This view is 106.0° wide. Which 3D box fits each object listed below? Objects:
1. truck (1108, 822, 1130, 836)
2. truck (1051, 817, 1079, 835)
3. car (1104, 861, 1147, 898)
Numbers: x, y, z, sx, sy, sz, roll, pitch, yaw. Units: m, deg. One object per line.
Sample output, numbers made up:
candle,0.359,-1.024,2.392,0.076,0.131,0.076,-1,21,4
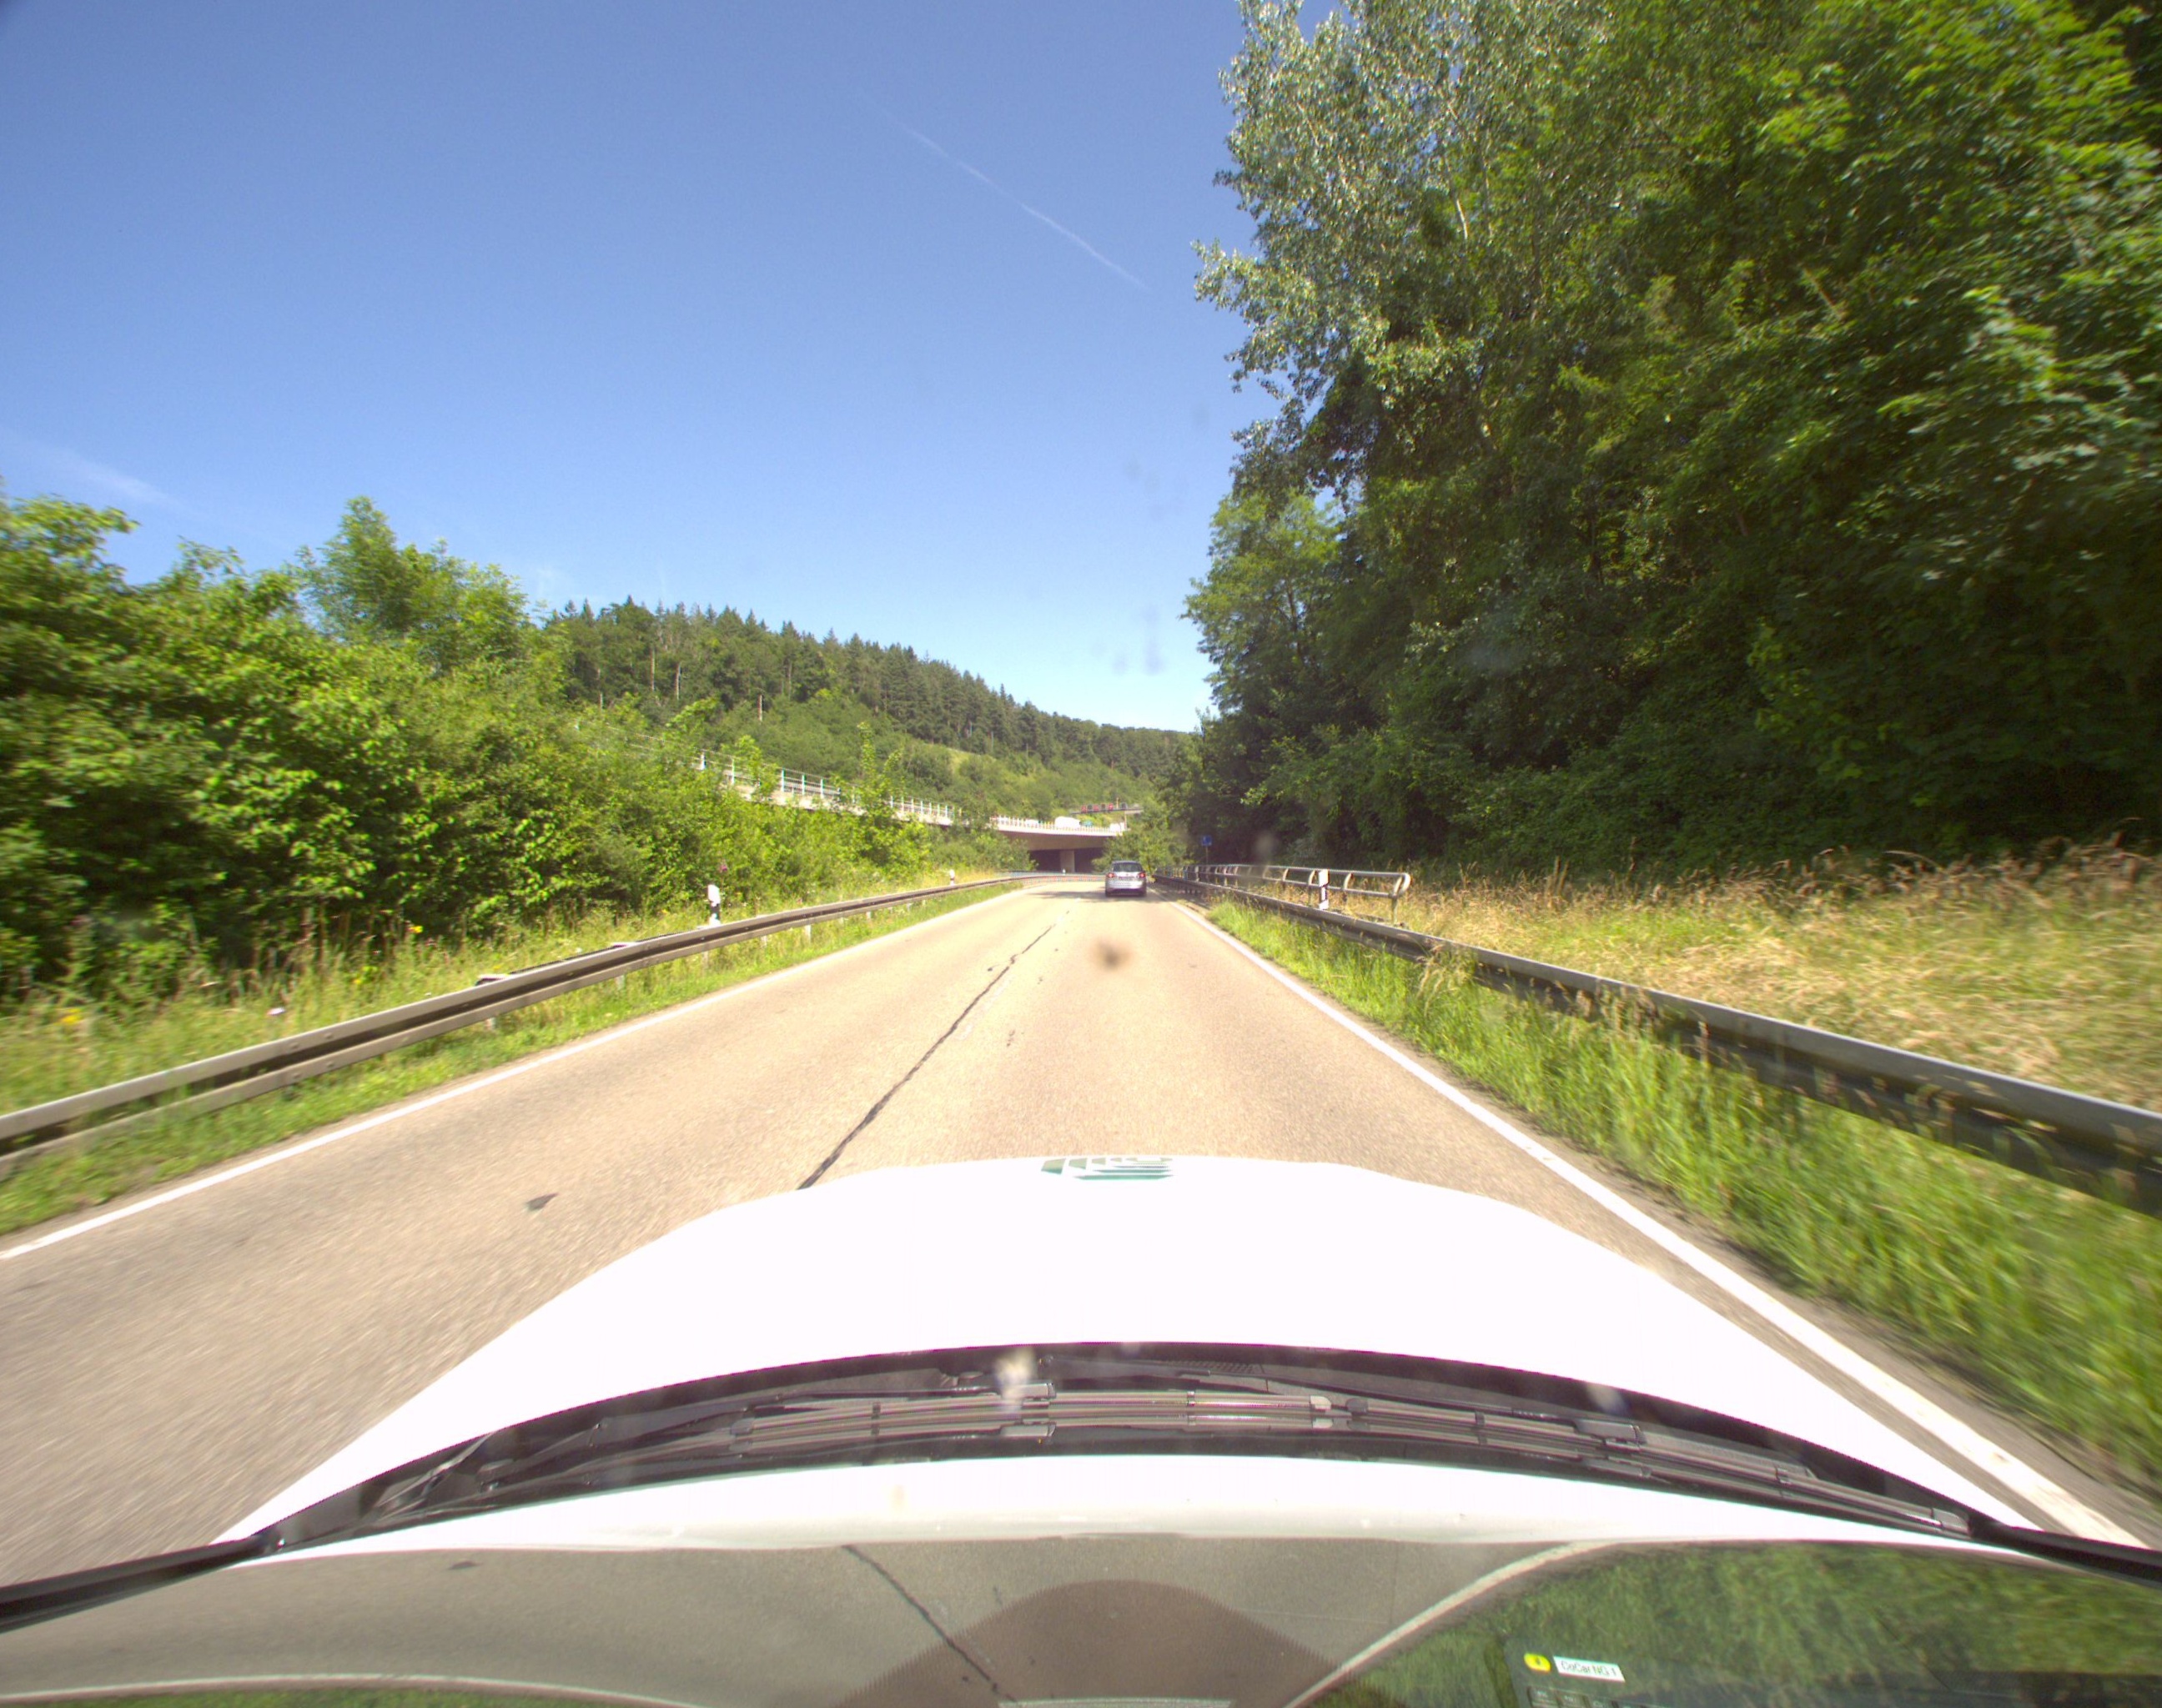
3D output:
truck,10.449,-6.747,221.664,3.732,3.385,10.549,-1,0,15
truck,-3.306,-5.848,169.184,3.346,3.355,10.213,0,0,13
car,1.913,1.067,35.778,1.744,1.520,4.160,-1,-1,2
